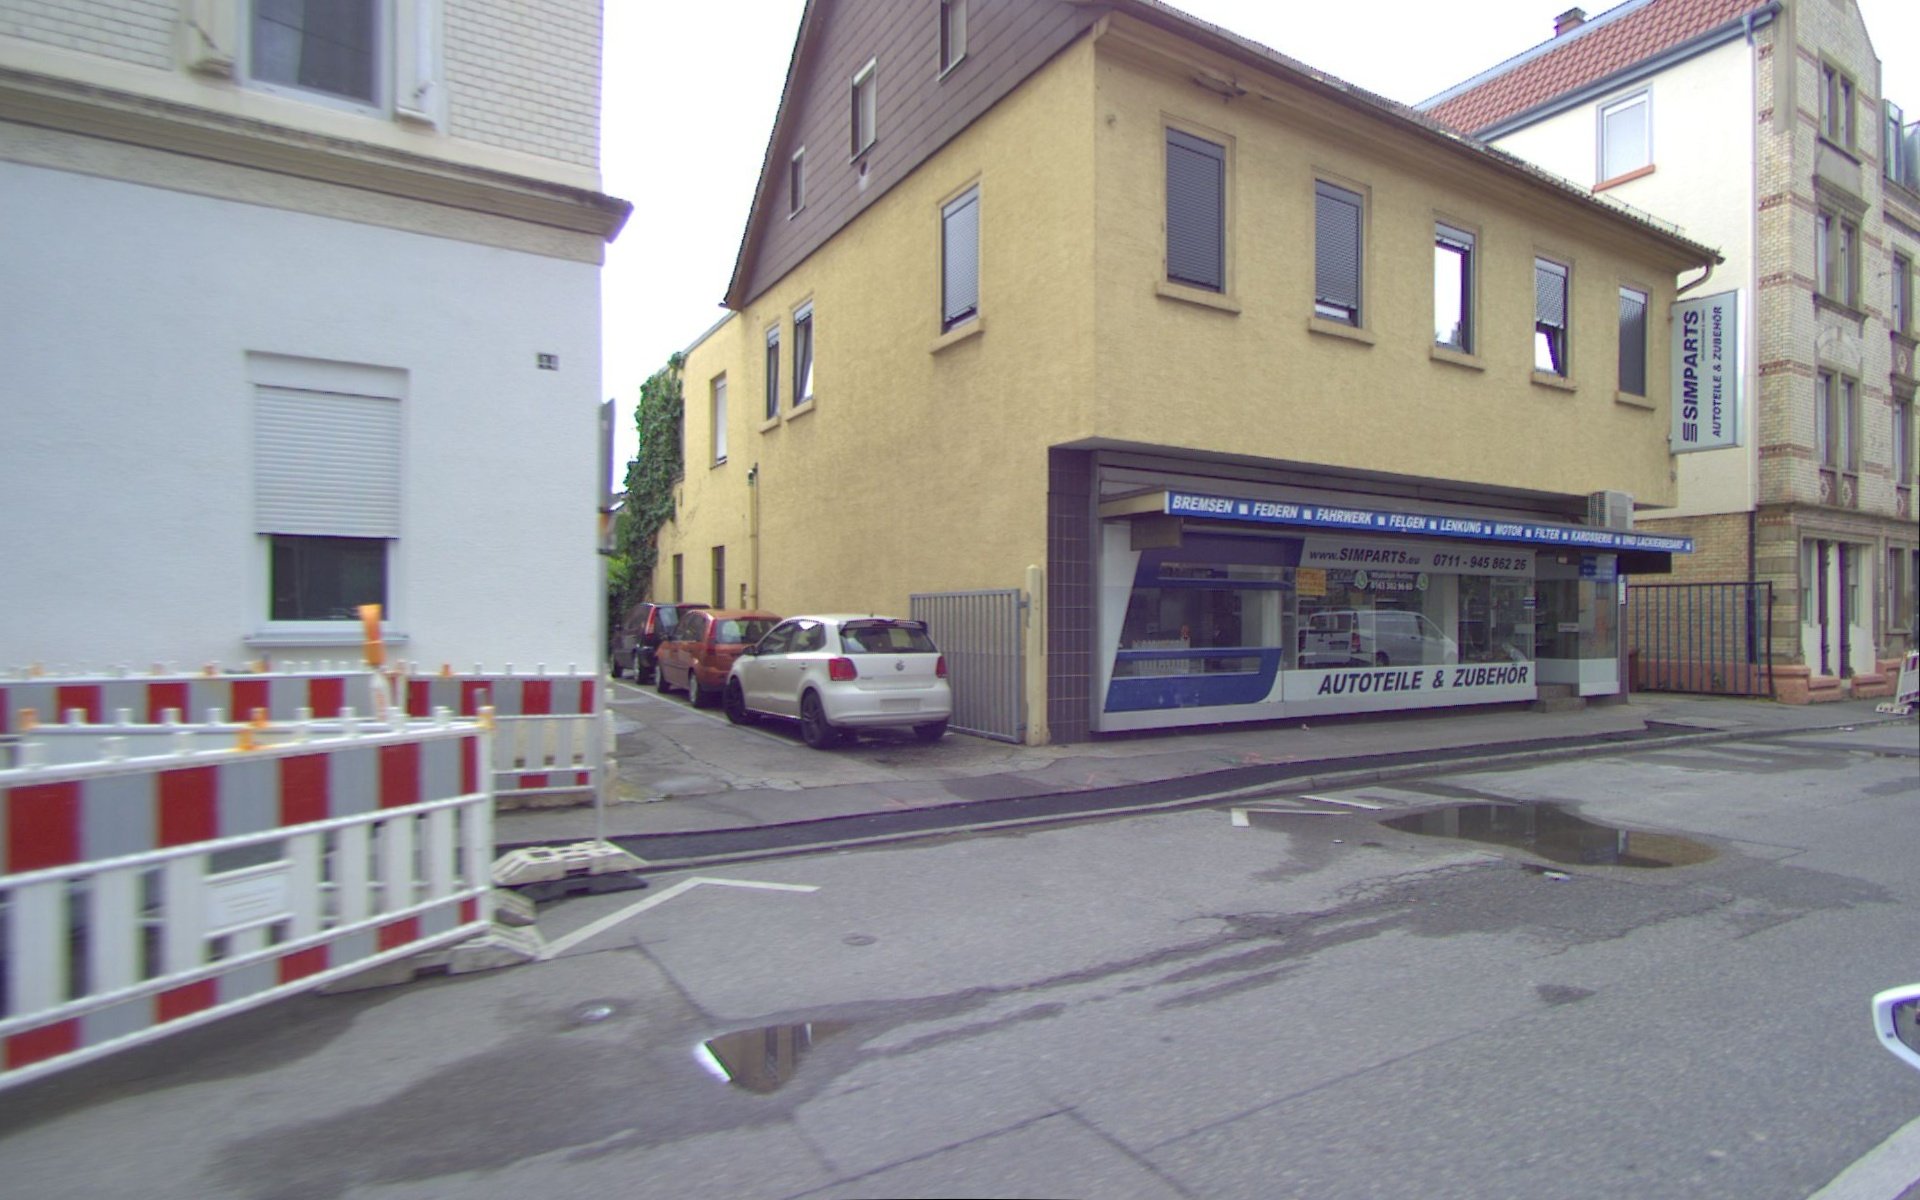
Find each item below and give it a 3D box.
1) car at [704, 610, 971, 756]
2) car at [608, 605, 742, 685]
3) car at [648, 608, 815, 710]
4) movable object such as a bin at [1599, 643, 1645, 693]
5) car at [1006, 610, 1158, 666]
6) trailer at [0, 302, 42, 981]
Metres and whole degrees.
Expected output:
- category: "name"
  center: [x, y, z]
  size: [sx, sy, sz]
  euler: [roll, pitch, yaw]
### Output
- category: "car"
  center: [-1.684, 0.888, 12.529]
  size: [1.708, 1.506, 3.962]
  euler: [1, -1, -34]
- category: "car"
  center: [-5.874, 0.842, 20.422]
  size: [1.766, 1.461, 3.843]
  euler: [1, -1, -29]
- category: "car"
  center: [-3.838, 0.879, 16.465]
  size: [1.766, 1.461, 3.503]
  euler: [1, -1, -29]
- category: "movable object such as a bin"
  center: [14.269, 1.455, 21.662]
  size: [0.605, 1.049, 0.590]
  euler: [1, -3, -29]
- category: "car"
  center: [3.471, 1.061, 28.535]
  size: [3.946, 1.483, 1.792]
  euler: [1, -1, -25]
- category: "trailer"
  center: [-6.329, 0.109, 1.957]
  size: [6.228, 2.841, 2.434]
  euler: [1, -2, -30]
